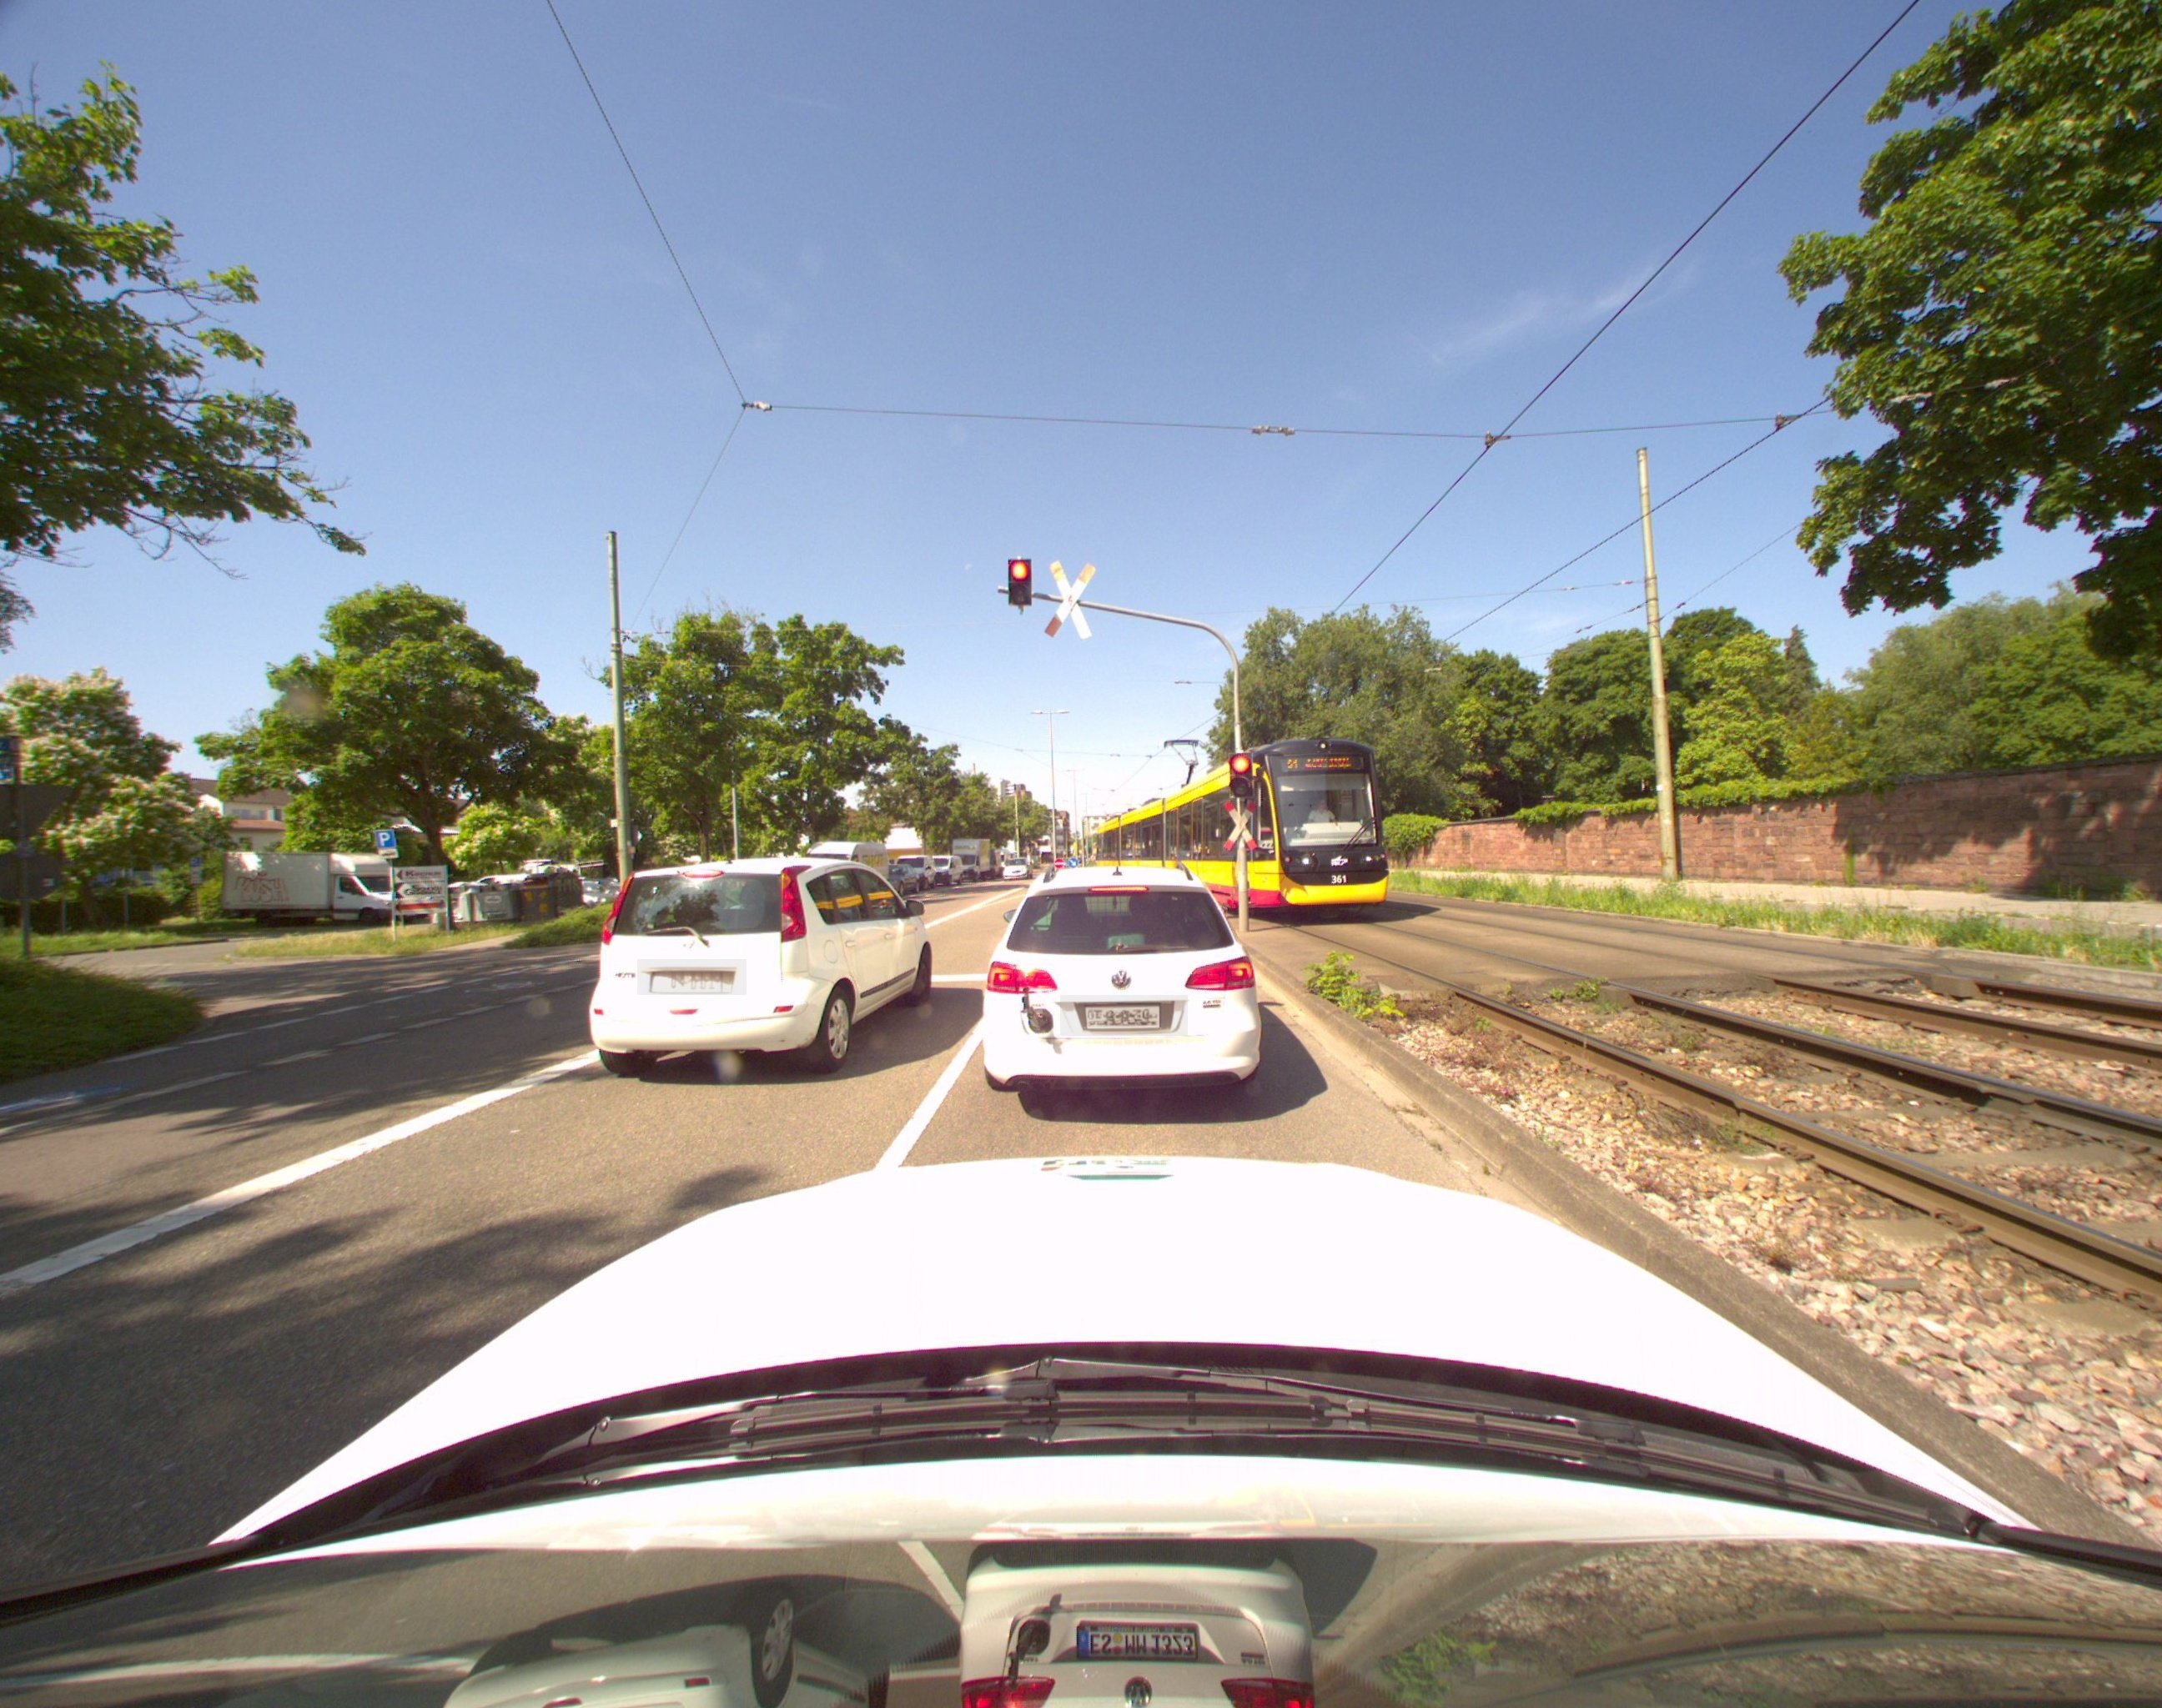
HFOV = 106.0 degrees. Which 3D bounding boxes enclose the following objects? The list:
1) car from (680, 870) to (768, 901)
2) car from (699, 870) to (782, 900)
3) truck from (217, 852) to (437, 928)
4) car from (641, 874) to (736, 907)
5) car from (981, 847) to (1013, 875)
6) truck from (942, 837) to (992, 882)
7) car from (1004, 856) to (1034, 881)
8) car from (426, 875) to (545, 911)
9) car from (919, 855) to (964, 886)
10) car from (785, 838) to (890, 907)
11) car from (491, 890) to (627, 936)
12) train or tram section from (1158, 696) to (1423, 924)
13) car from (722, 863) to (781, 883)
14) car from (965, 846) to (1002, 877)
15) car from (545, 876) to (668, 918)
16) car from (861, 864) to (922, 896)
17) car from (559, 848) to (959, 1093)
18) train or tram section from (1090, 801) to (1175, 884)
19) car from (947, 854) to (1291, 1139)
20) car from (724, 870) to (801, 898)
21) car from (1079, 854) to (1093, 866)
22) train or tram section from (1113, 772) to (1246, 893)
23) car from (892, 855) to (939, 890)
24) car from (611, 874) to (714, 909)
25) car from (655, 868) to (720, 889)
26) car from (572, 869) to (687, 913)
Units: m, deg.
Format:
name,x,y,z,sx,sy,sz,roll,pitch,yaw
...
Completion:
name,x,y,z,sx,sy,sz,roll,pitch,yaw
car,-19.544,1.716,44.732,3.977,1.415,1.729,-4,-1,-3
car,-19.614,1.761,47.065,3.977,1.415,1.729,-4,-1,-3
truck,-32.429,1.499,35.207,6.979,3.110,2.677,0,0,0
car,-20.293,1.863,42.215,3.977,1.415,1.729,-4,-1,-3
car,-7.780,0.668,76.123,2.114,2.516,5.737,0,0,2
truck,-8.373,0.405,60.691,2.411,3.150,7.001,0,0,2
car,-4.383,1.006,57.638,1.670,1.553,3.580,-4,0,1
car,-31.775,2.043,43.565,4.780,1.787,2.062,0,-1,-3
car,-8.876,1.005,52.271,1.856,1.868,5.415,0,0,1
car,-9.585,0.681,32.676,2.114,2.516,5.822,0,0,3
car,-19.903,2.230,31.168,3.977,1.415,1.729,-4,-1,-3
train or tram section,4.238,-0.761,20.373,2.863,3.855,12.380,-3,0,-2
car,-31.480,1.811,77.905,4.780,1.787,2.062,0,-1,-3
car,-8.155,0.608,68.690,2.114,2.516,5.737,0,0,2
car,-19.672,1.764,33.861,3.977,1.415,1.729,-4,-1,-3
car,-9.023,1.216,39.139,1.856,1.415,4.281,0,0,1
car,-2.426,0.750,7.523,1.655,1.547,4.550,-1,0,3
train or tram section,2.529,-0.550,44.262,2.866,3.855,10.518,-3,0,-5
car,0.263,0.753,6.307,1.756,1.430,4.002,-3,0,2
car,-19.468,1.815,49.882,3.977,1.415,1.729,-4,-1,-3
car,0.698,0.827,112.703,1.698,1.473,4.593,-3,0,3
train or tram section,3.466,-0.696,32.844,2.865,3.855,12.372,-3,0,-4
car,-9.199,0.985,45.690,1.859,1.868,5.068,0,0,-4
car,-20.300,1.800,39.604,3.977,1.415,1.729,-4,-1,-3
car,-35.206,2.188,72.973,4.780,1.787,2.062,0,-1,-3
car,-19.921,1.623,36.068,3.977,1.610,1.729,-4,-1,-3
